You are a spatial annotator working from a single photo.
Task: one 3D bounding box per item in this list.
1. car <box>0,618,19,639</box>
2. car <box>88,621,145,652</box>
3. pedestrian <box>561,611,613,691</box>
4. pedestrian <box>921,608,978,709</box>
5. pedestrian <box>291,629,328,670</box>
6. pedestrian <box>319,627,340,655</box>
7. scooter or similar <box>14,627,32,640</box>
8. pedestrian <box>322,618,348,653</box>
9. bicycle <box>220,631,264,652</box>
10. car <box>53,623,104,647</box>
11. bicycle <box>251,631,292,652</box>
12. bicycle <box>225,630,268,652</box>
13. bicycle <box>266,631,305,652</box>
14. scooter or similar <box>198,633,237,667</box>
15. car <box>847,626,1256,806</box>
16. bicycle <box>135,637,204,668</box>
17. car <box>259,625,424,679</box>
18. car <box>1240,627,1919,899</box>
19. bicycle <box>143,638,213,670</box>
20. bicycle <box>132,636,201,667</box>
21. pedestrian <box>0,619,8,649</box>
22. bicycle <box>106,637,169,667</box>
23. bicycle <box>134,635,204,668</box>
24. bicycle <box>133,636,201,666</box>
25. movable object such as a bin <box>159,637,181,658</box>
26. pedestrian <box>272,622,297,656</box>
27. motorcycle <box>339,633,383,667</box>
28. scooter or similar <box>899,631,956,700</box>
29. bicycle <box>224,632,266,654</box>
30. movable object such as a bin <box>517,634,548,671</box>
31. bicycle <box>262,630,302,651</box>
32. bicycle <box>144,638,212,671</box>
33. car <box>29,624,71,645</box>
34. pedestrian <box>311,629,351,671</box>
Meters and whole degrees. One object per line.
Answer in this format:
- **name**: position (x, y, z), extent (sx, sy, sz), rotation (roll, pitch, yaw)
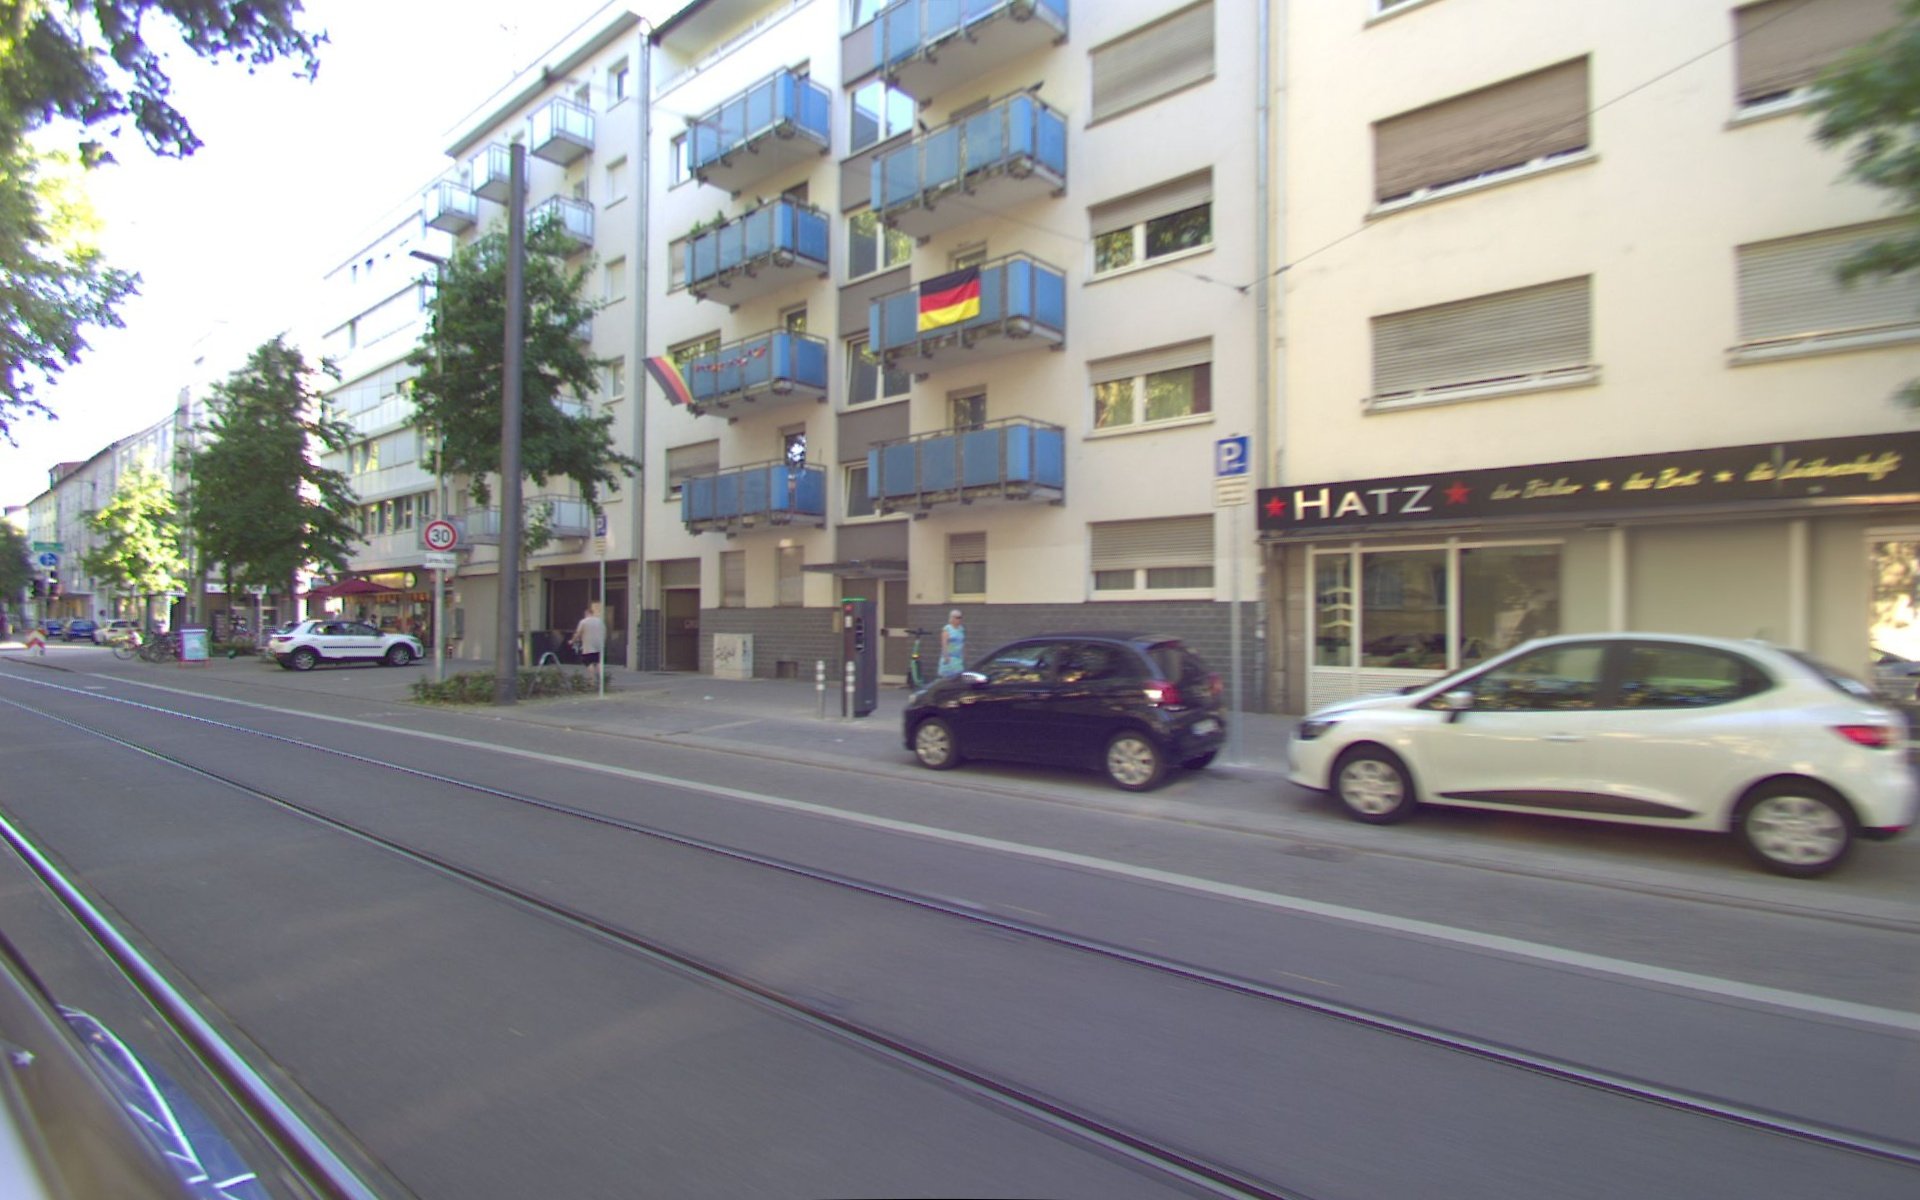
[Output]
- **car**: position (-91.086, 2.739, 96.327), extent (4.047, 1.949, 1.785), rotation (-1, -3, 40)
- **car**: position (-48.646, 2.075, 58.330), extent (4.355, 1.663, 1.858), rotation (-1, -1, 41)
- **pedestrian**: position (-8.213, 1.109, 22.297), extent (0.794, 1.704, 0.756), rotation (-1, -2, 40)
- **pedestrian**: position (-0.184, 1.002, 17.672), extent (0.748, 1.704, 0.657), rotation (-1, -2, 40)
- **pedestrian**: position (-21.282, 1.611, 33.122), extent (0.744, 1.307, 0.707), rotation (-1, -3, 28)
- **pedestrian**: position (-27.108, 1.752, 43.514), extent (0.560, 1.207, 0.509), rotation (-1, -2, 26)
- **scooter or similar**: position (-84.480, 2.998, 91.256), extent (1.259, 1.183, 0.445), rotation (0, -2, 5)
- **pedestrian**: position (-29.552, 1.674, 47.854), extent (0.748, 1.672, 0.759), rotation (-1, -3, 37)
- **bicycle**: position (-39.903, 2.300, 56.295), extent (0.568, 1.165, 2.024), rotation (0, -2, 19)
- **car**: position (-57.757, 2.288, 66.291), extent (4.388, 1.556, 1.935), rotation (-1, -3, 42)
- **bicycle**: position (-37.784, 2.288, 55.570), extent (1.759, 1.165, 0.574), rotation (1, -2, -17)
- **bicycle**: position (-39.227, 2.239, 55.644), extent (1.837, 1.165, 0.572), rotation (2, -3, -44)
- **bicycle**: position (-37.651, 2.310, 56.484), extent (1.760, 1.165, 0.573), rotation (2, -3, -38)
- **scooter or similar**: position (-27.267, 1.826, 37.162), extent (0.498, 1.185, 1.068), rotation (-1, -1, 40)
- **car**: position (0.879, 1.062, 10.704), extent (3.990, 1.475, 1.699), rotation (-1, 1, 35)
- **bicycle**: position (-27.775, 1.821, 35.585), extent (0.657, 1.015, 1.812), rotation (-1, -1, 37)
- **car**: position (-18.808, 1.518, 30.884), extent (1.852, 1.486, 3.968), rotation (-1, -1, 44)
- **car**: position (4.569, 0.994, 7.719), extent (4.371, 1.475, 1.697), rotation (-1, 1, 38)
- **bicycle**: position (-26.855, 1.837, 34.774), extent (0.657, 1.015, 1.812), rotation (-1, -1, 37)
- **bicycle**: position (-28.235, 1.827, 36.041), extent (0.657, 1.015, 1.812), rotation (-1, -1, 37)
- **pedestrian**: position (-50.682, 1.777, 53.337), extent (0.772, 1.597, 0.647), rotation (-1, -3, 42)
- **bicycle**: position (-30.007, 1.876, 36.930), extent (0.657, 1.015, 1.675), rotation (-1, -1, 37)
- **bicycle**: position (-27.578, 1.792, 35.325), extent (0.657, 1.072, 1.812), rotation (-1, -1, 37)
- **bicycle**: position (-28.503, 1.831, 36.404), extent (0.657, 1.015, 1.812), rotation (-1, -1, 37)
- **movable object such as a bin**: position (-36.223, 2.163, 46.380), extent (0.646, 0.939, 0.536), rotation (-1, -2, 25)
- **pedestrian**: position (-31.760, 1.838, 47.597), extent (0.767, 1.568, 0.718), rotation (-1, -3, 36)
- **motorcycle**: position (-21.444, 1.790, 36.204), extent (1.915, 1.173, 0.840), rotation (-1, -3, 43)
- **scooter or similar**: position (-0.638, 1.245, 19.467), extent (0.370, 1.299, 1.238), rotation (4, -4, -41)
- **bicycle**: position (-38.730, 2.313, 54.820), extent (1.759, 1.165, 0.574), rotation (1, -2, -17)
- **movable object such as a bin**: position (-12.724, 1.552, 30.119), extent (0.574, 1.063, 0.665), rotation (-2, -3, 43)
- **bicycle**: position (-38.224, 2.309, 57.105), extent (0.571, 1.165, 1.768), rotation (-1, -2, 35)
- **bicycle**: position (-26.069, 1.798, 33.764), extent (0.657, 1.015, 1.675), rotation (-1, -1, 37)
- **car**: position (-66.229, 2.501, 73.650), extent (4.281, 1.475, 1.775), rotation (-1, -3, 42)
- **pedestrian**: position (-20.182, 1.603, 32.494), extent (0.907, 1.307, 0.707), rotation (-1, -3, 28)
